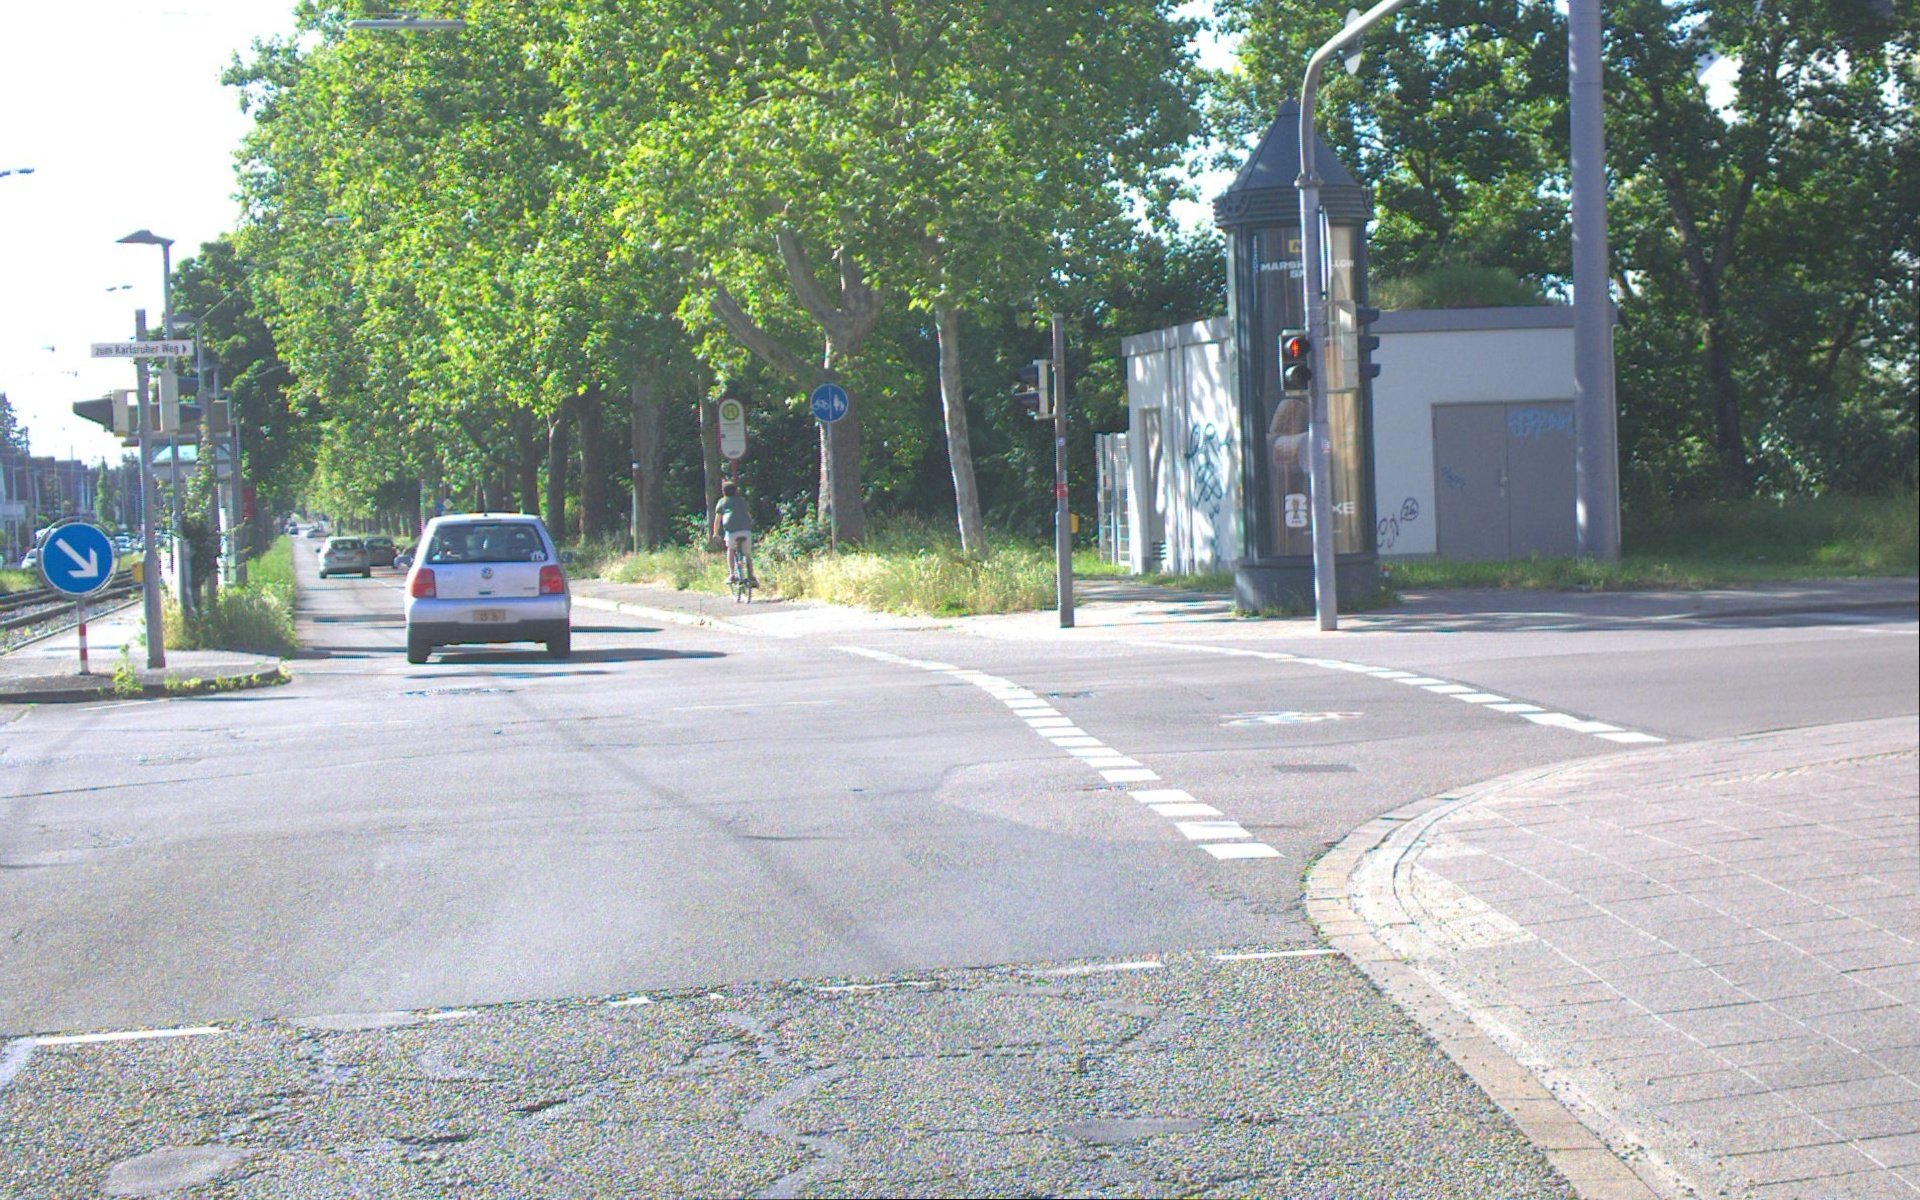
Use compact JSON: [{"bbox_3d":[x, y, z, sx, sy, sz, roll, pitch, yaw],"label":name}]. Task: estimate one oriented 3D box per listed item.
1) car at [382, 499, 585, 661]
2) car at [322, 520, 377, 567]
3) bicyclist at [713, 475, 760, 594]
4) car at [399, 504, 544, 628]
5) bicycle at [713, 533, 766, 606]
[{"bbox_3d":[-4.757,-0.226,34.366,1.867,1.481,3.556,-2,1,-8],"label":"car"},{"bbox_3d":[-21.977,-2.047,123.672,1.750,1.599,3.582,-3,2,-12],"label":"car"},{"bbox_3d":[-3.385,-0.994,52.118,0.534,1.763,0.713,-3,1,-13],"label":"bicyclist"},{"bbox_3d":[-6.673,-0.487,46.700,1.750,1.599,3.751,-1,1,-11],"label":"car"},{"bbox_3d":[-3.340,-0.466,52.051,0.536,1.062,1.434,-3,2,-13],"label":"bicycle"}]
